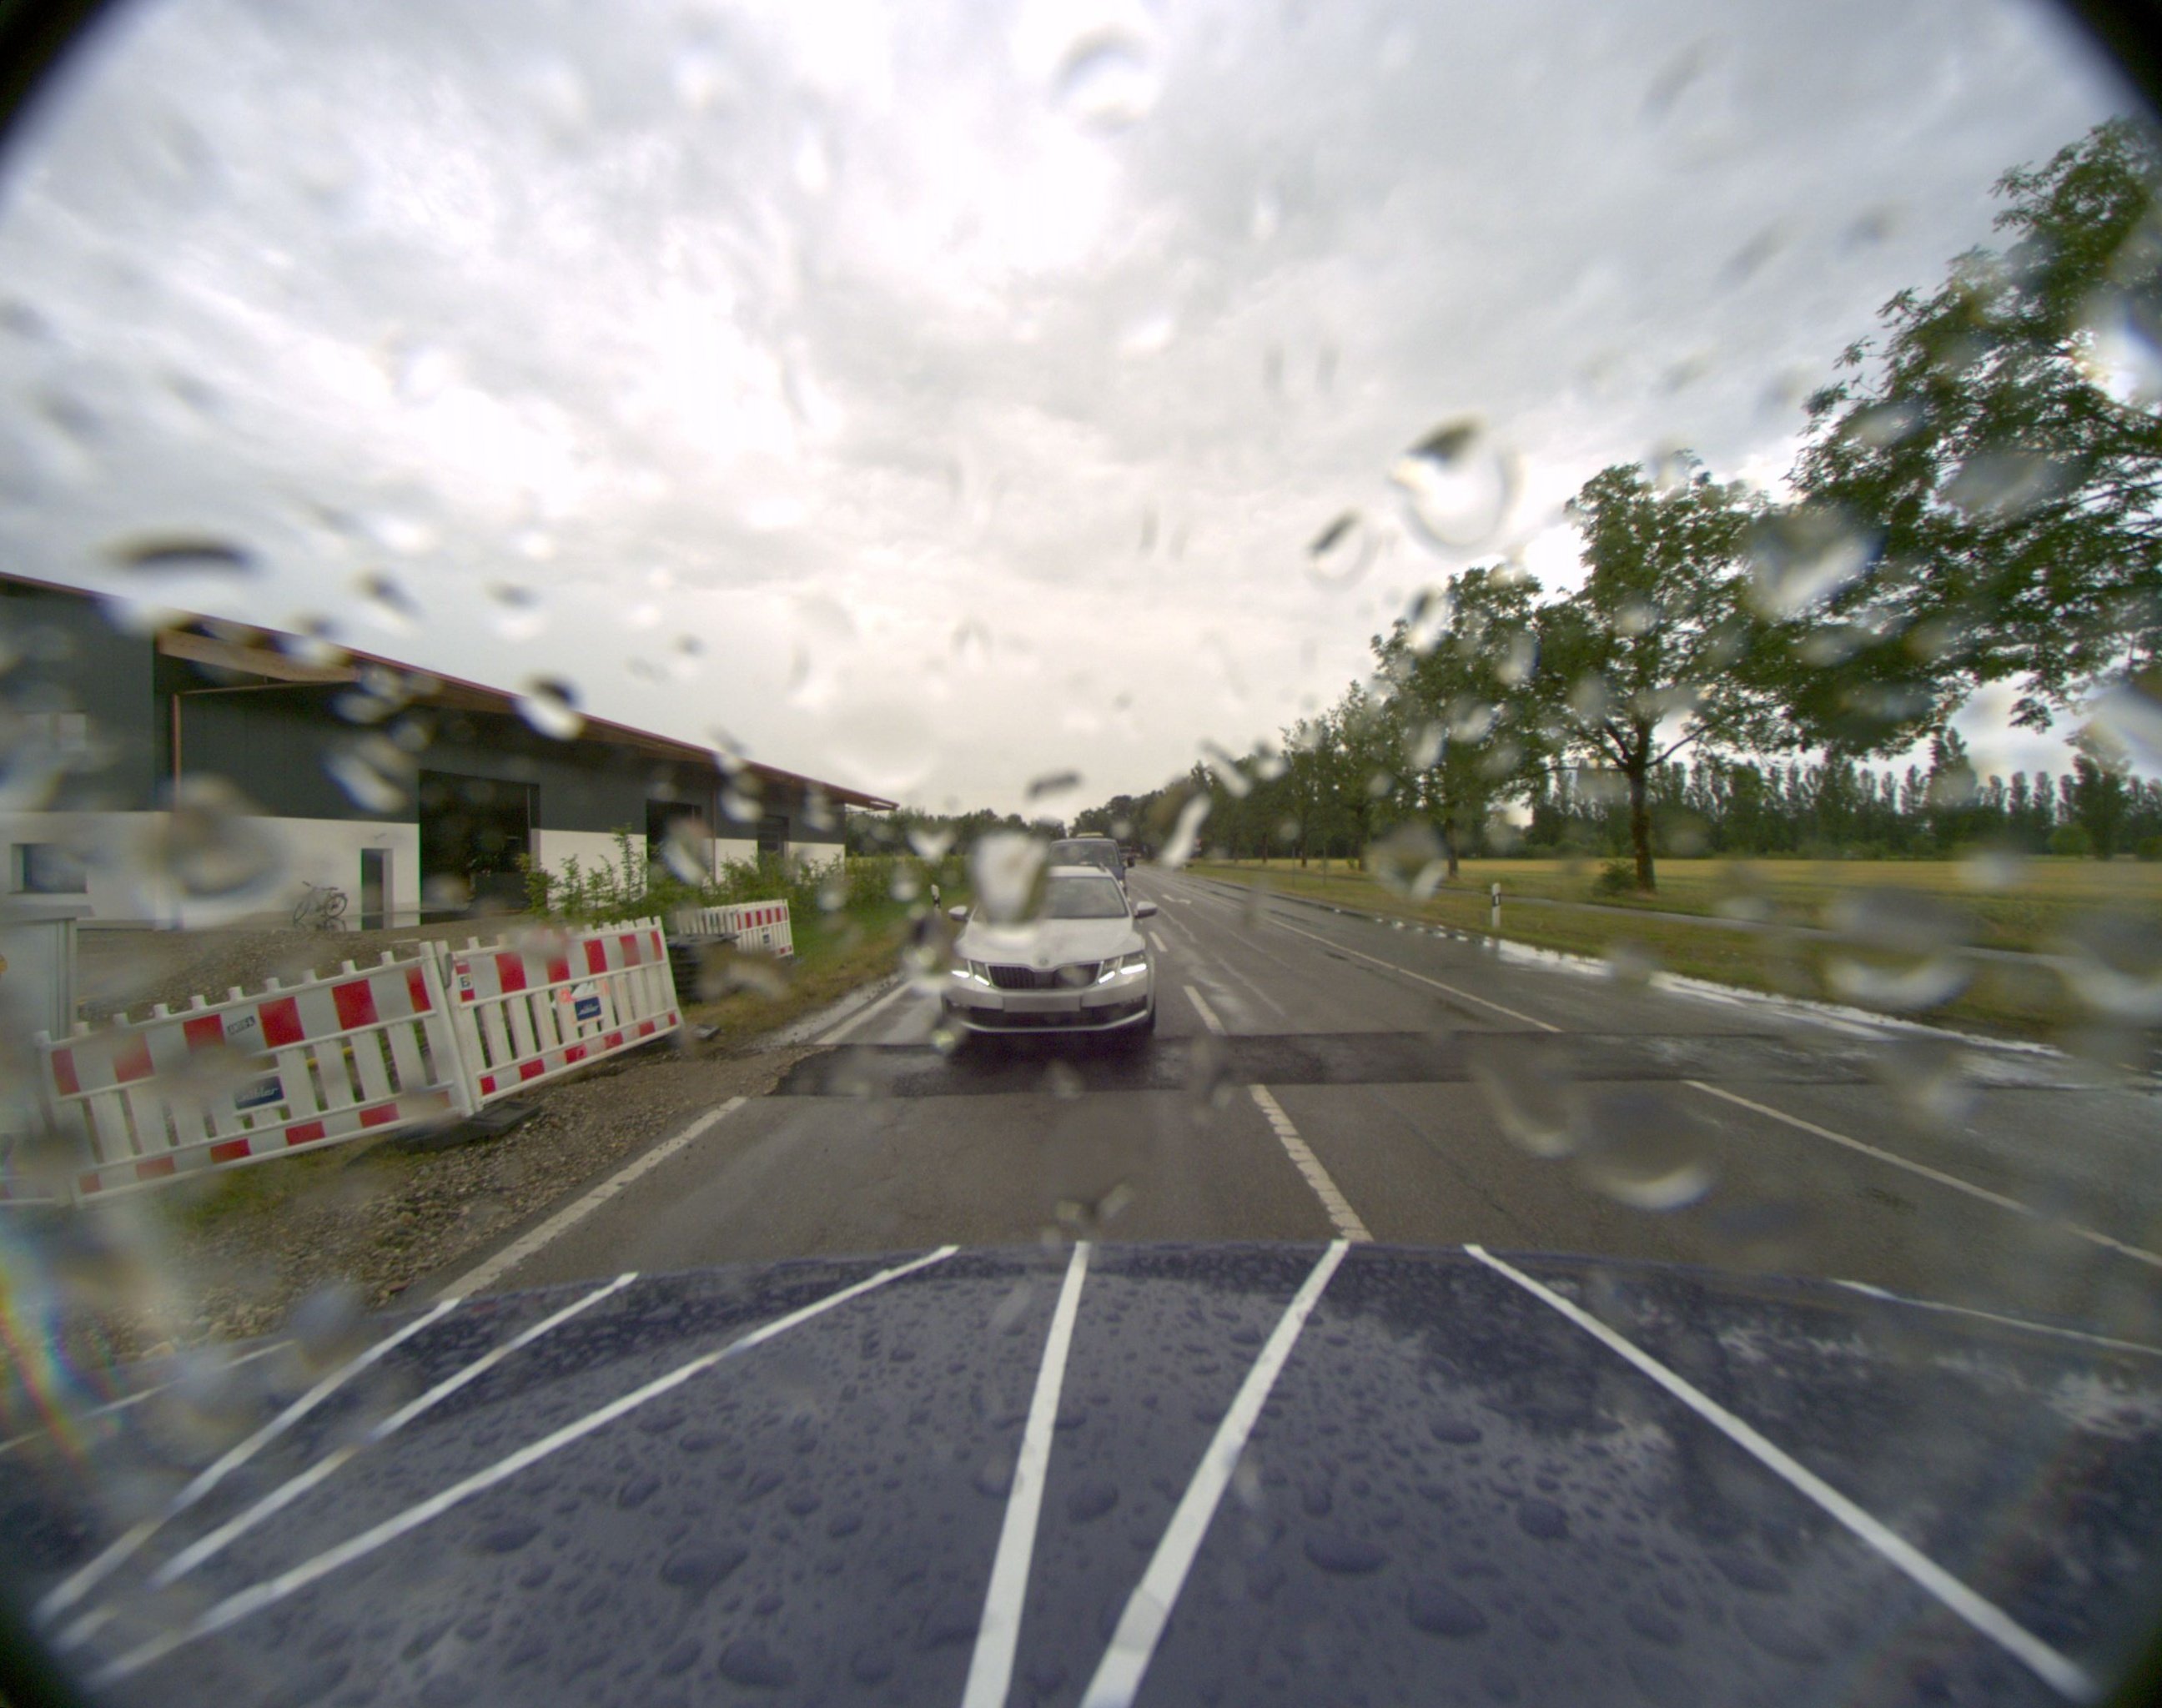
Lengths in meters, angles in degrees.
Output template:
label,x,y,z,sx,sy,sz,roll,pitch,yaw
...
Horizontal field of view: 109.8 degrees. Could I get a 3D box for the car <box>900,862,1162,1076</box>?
label,x,y,z,sx,sy,sz,roll,pitch,yaw
car,-0.330,0.866,7.801,1.843,1.379,4.569,-2,1,1

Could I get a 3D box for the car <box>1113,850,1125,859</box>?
label,x,y,z,sx,sy,sz,roll,pitch,yaw
car,6.411,0.126,128.537,1.724,1.396,4.043,1,1,0

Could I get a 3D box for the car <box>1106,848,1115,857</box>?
label,x,y,z,sx,sy,sz,roll,pitch,yaw
car,6.607,-0.390,172.087,1.921,1.851,4.684,1,1,0

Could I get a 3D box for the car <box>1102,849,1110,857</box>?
label,x,y,z,sx,sy,sz,roll,pitch,yaw
car,5.280,-0.204,162.634,1.708,1.661,4.156,1,1,2

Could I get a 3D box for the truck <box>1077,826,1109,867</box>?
label,x,y,z,sx,sy,sz,roll,pitch,yaw
truck,1.204,-0.731,76.952,2.931,3.828,14.119,0,0,1

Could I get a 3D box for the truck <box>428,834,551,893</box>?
label,x,y,z,sx,sy,sz,roll,pitch,yaw
truck,-32.423,0.474,41.914,2.496,2.996,5.343,0,1,1

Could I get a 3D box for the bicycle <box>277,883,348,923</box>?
label,x,y,z,sx,sy,sz,roll,pitch,yaw
bicycle,-23.090,1.451,22.873,0.391,1.066,1.661,0,1,1

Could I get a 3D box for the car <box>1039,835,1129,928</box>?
label,x,y,z,sx,sy,sz,roll,pitch,yaw
car,0.091,0.563,18.017,1.892,1.939,4.000,0,1,1
